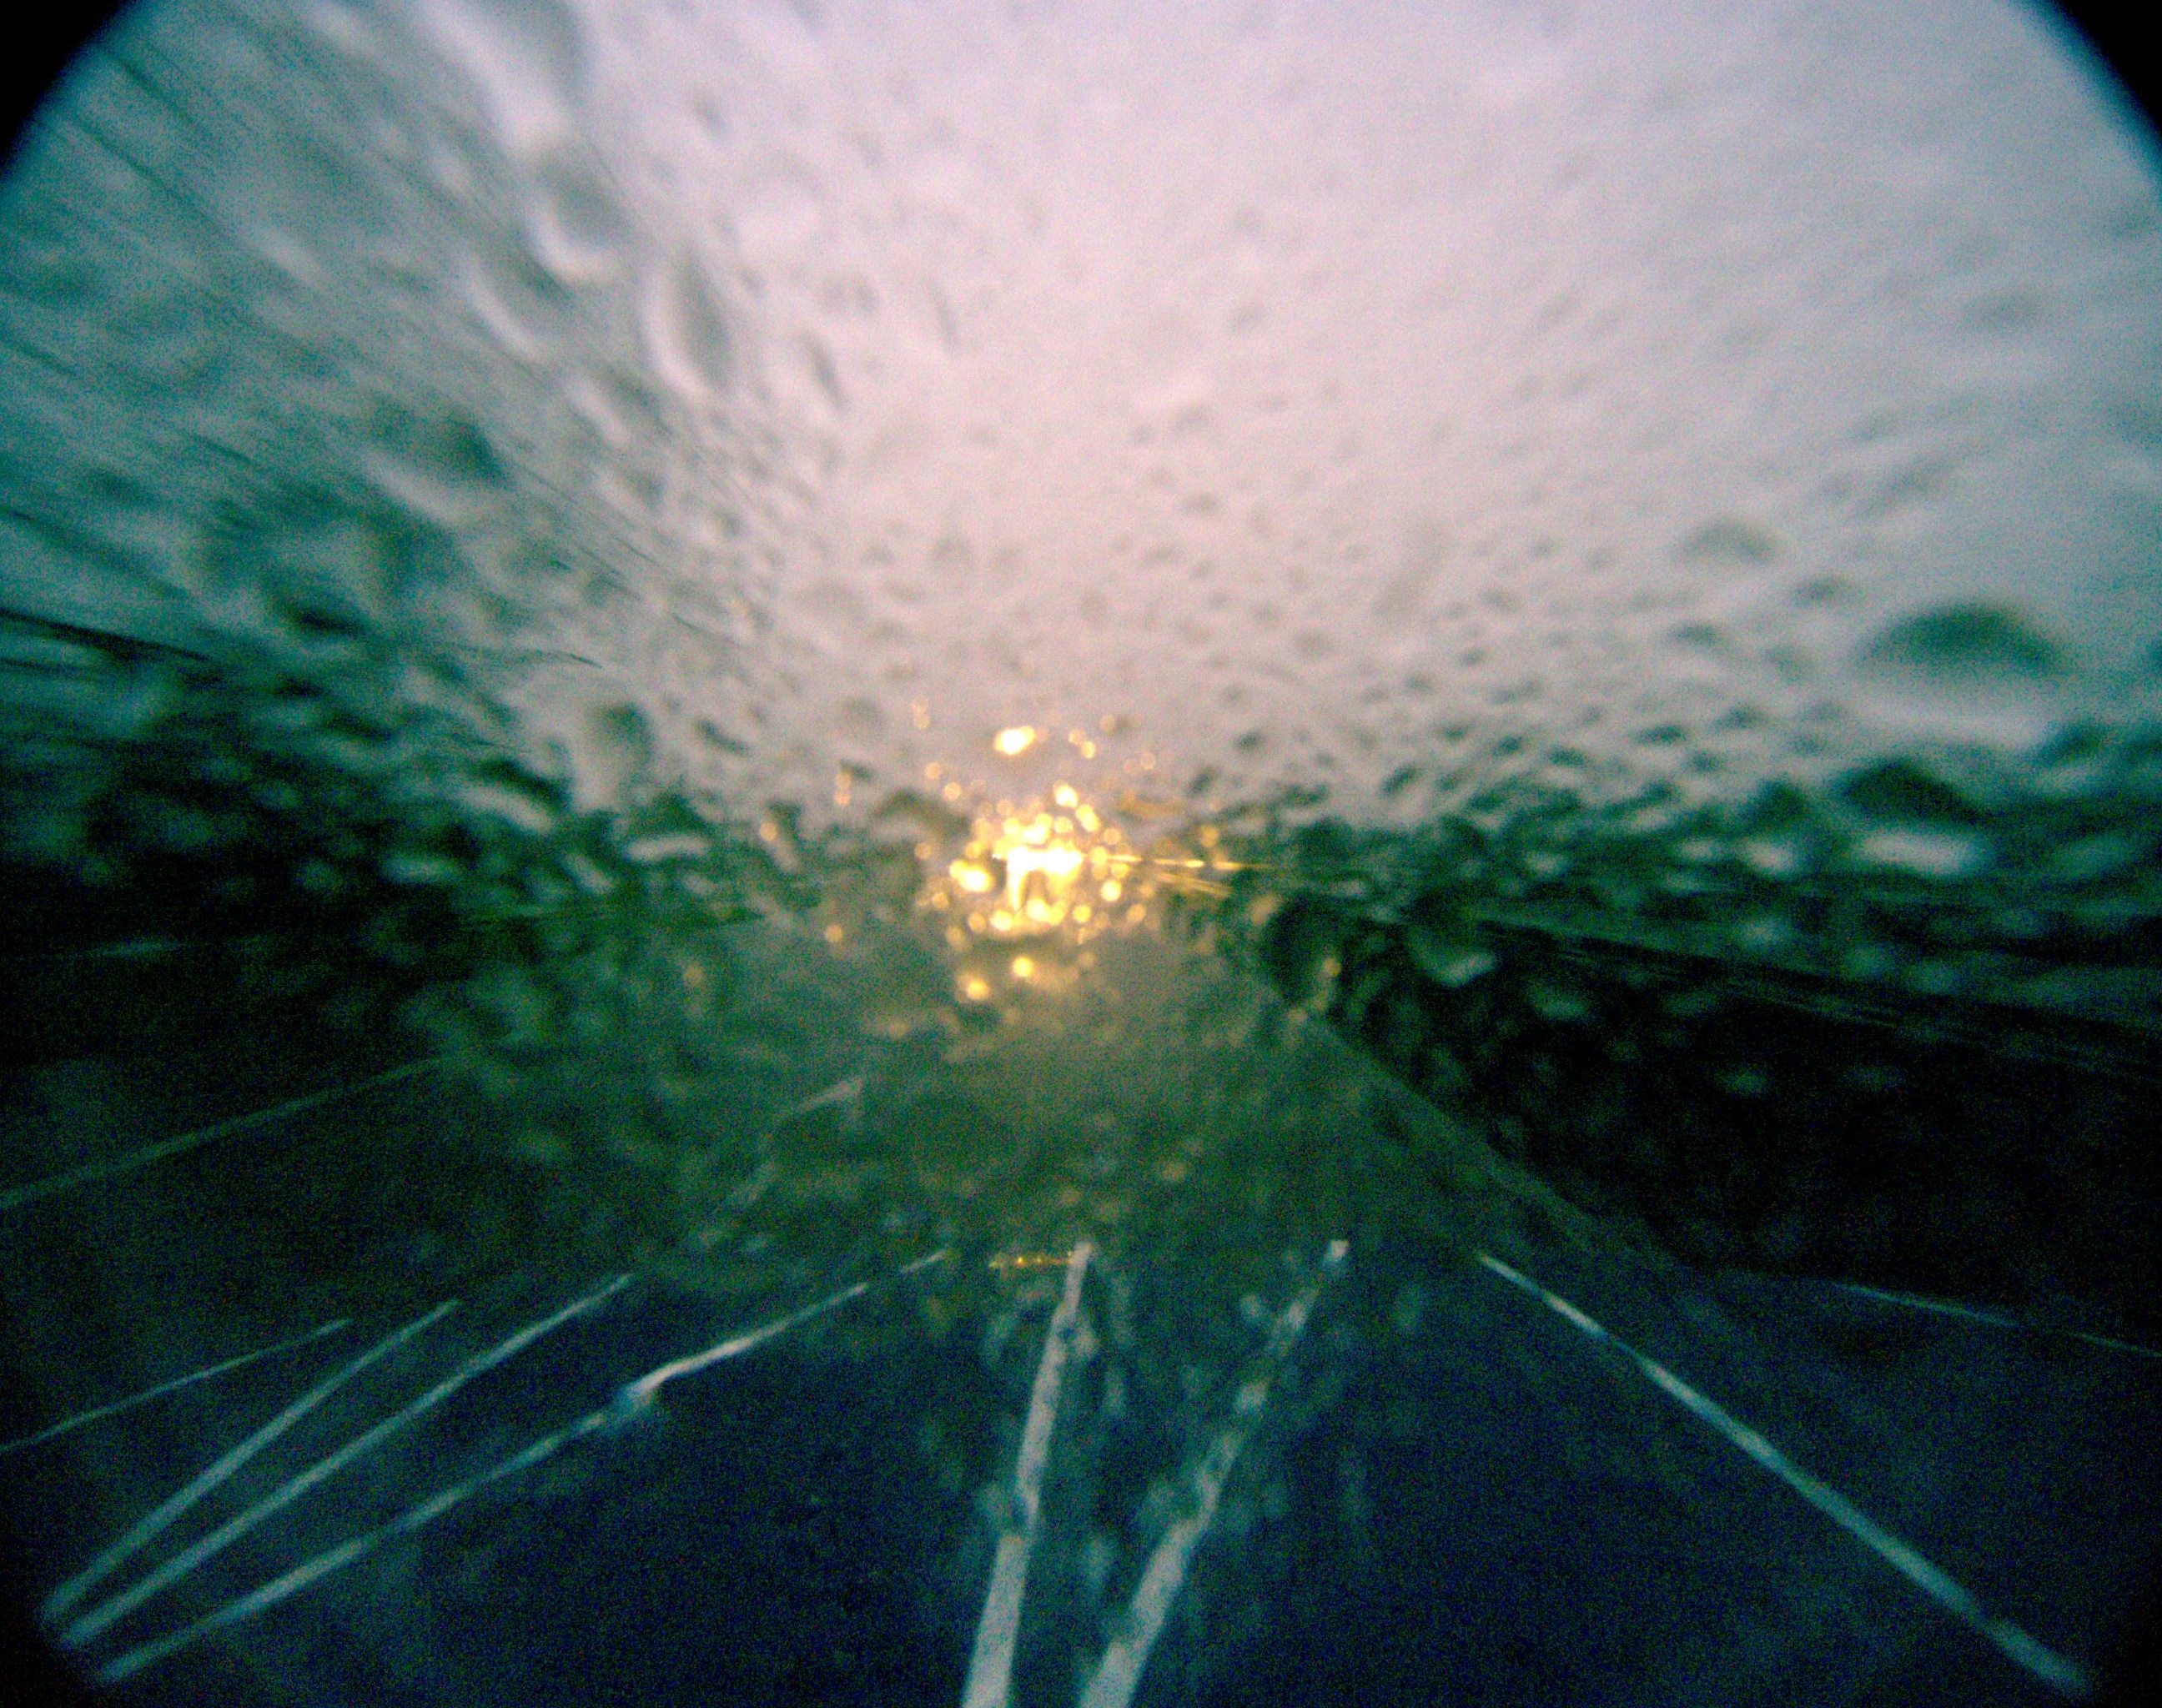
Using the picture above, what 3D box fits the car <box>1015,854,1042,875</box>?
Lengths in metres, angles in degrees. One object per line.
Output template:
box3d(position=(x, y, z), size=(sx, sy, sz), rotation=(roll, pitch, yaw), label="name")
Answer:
box3d(position=(-4.068, 0.772, 59.165), size=(1.802, 1.494, 3.999), rotation=(-3, 0, -1), label="car")

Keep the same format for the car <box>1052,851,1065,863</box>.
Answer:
box3d(position=(-2.815, 0.373, 94.738), size=(1.632, 1.465, 3.999), rotation=(-1, 0, -2), label="car")
